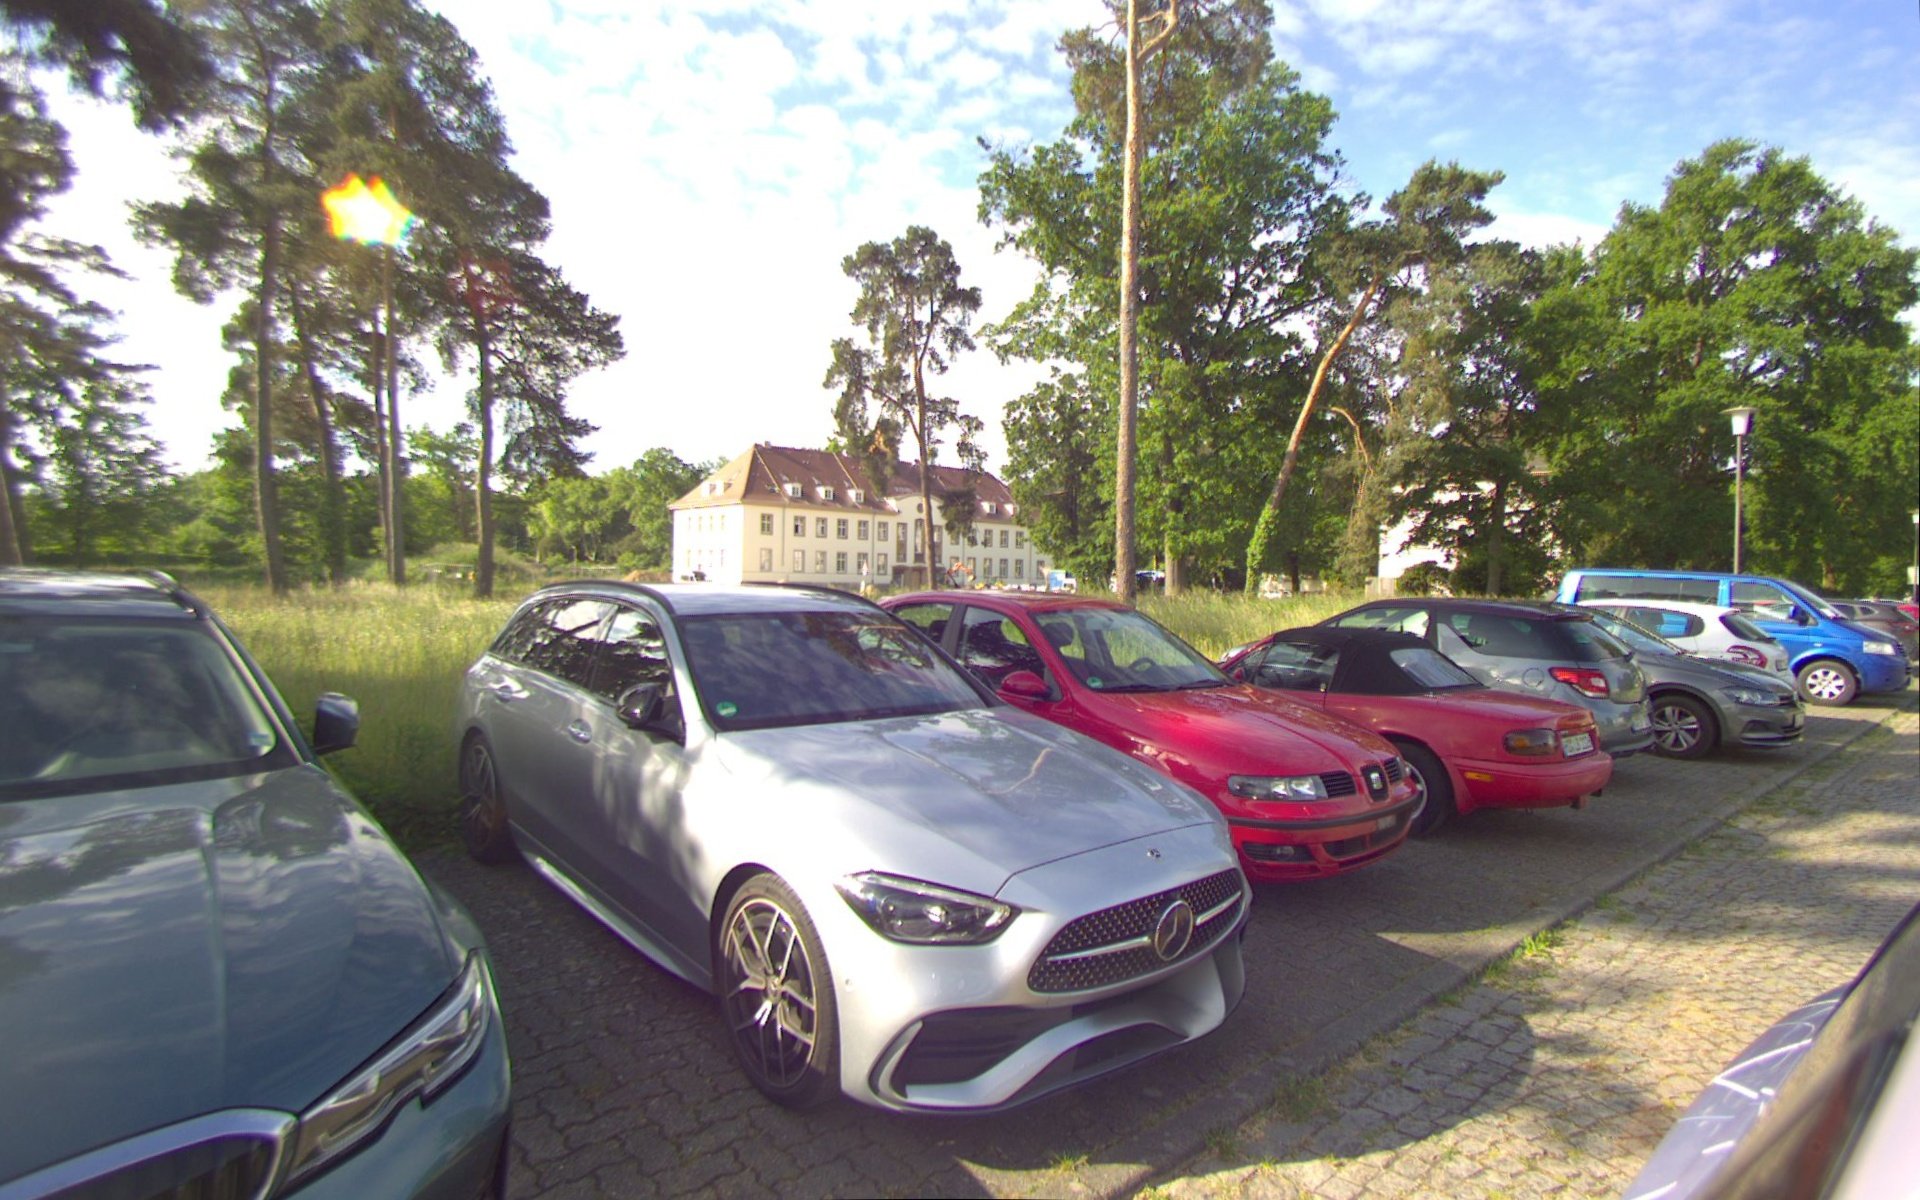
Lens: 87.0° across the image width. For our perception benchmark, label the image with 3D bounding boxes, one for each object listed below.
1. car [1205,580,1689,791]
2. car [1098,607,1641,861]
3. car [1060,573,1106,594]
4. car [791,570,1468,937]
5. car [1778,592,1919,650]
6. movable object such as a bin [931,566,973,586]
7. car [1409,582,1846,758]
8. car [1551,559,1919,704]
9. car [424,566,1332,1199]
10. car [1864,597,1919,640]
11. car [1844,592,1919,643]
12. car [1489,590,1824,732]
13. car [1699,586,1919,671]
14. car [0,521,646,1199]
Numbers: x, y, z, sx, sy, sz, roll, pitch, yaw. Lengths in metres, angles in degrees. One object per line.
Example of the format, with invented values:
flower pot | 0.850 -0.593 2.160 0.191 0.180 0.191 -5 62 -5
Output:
car | 4.321 0.604 9.435 1.522 1.509 3.776 0 2 -41
car | 2.732 0.751 7.288 1.395 1.271 3.354 0 2 -41
car | 12.393 -1.646 102.020 4.688 2.039 1.998 0 1 -40
car | 0.722 0.591 6.196 1.632 1.410 3.915 0 3 -41
car | 26.609 0.587 29.508 1.724 1.537 3.998 0 2 -38
movable object such as a bin | -0.916 -2.808 119.723 4.906 2.352 1.995 0 2 -45
car | 6.932 0.596 10.889 1.478 1.509 3.630 0 1 -31
car | 12.682 0.373 16.627 1.964 2.039 4.726 0 1 -39
car | -0.853 0.637 4.585 1.795 1.419 4.420 0 3 -42
car | 37.833 0.689 39.132 1.724 1.635 3.997 -1 -1 -36
car | 34.269 0.608 35.956 1.725 1.763 3.996 -1 -1 -38
car | 8.813 0.665 13.000 1.423 1.509 3.265 0 1 -38
car | 19.160 0.566 22.557 1.724 1.660 3.998 0 1 -38
car | -2.781 0.565 2.842 1.796 1.535 4.499 0 3 -44
